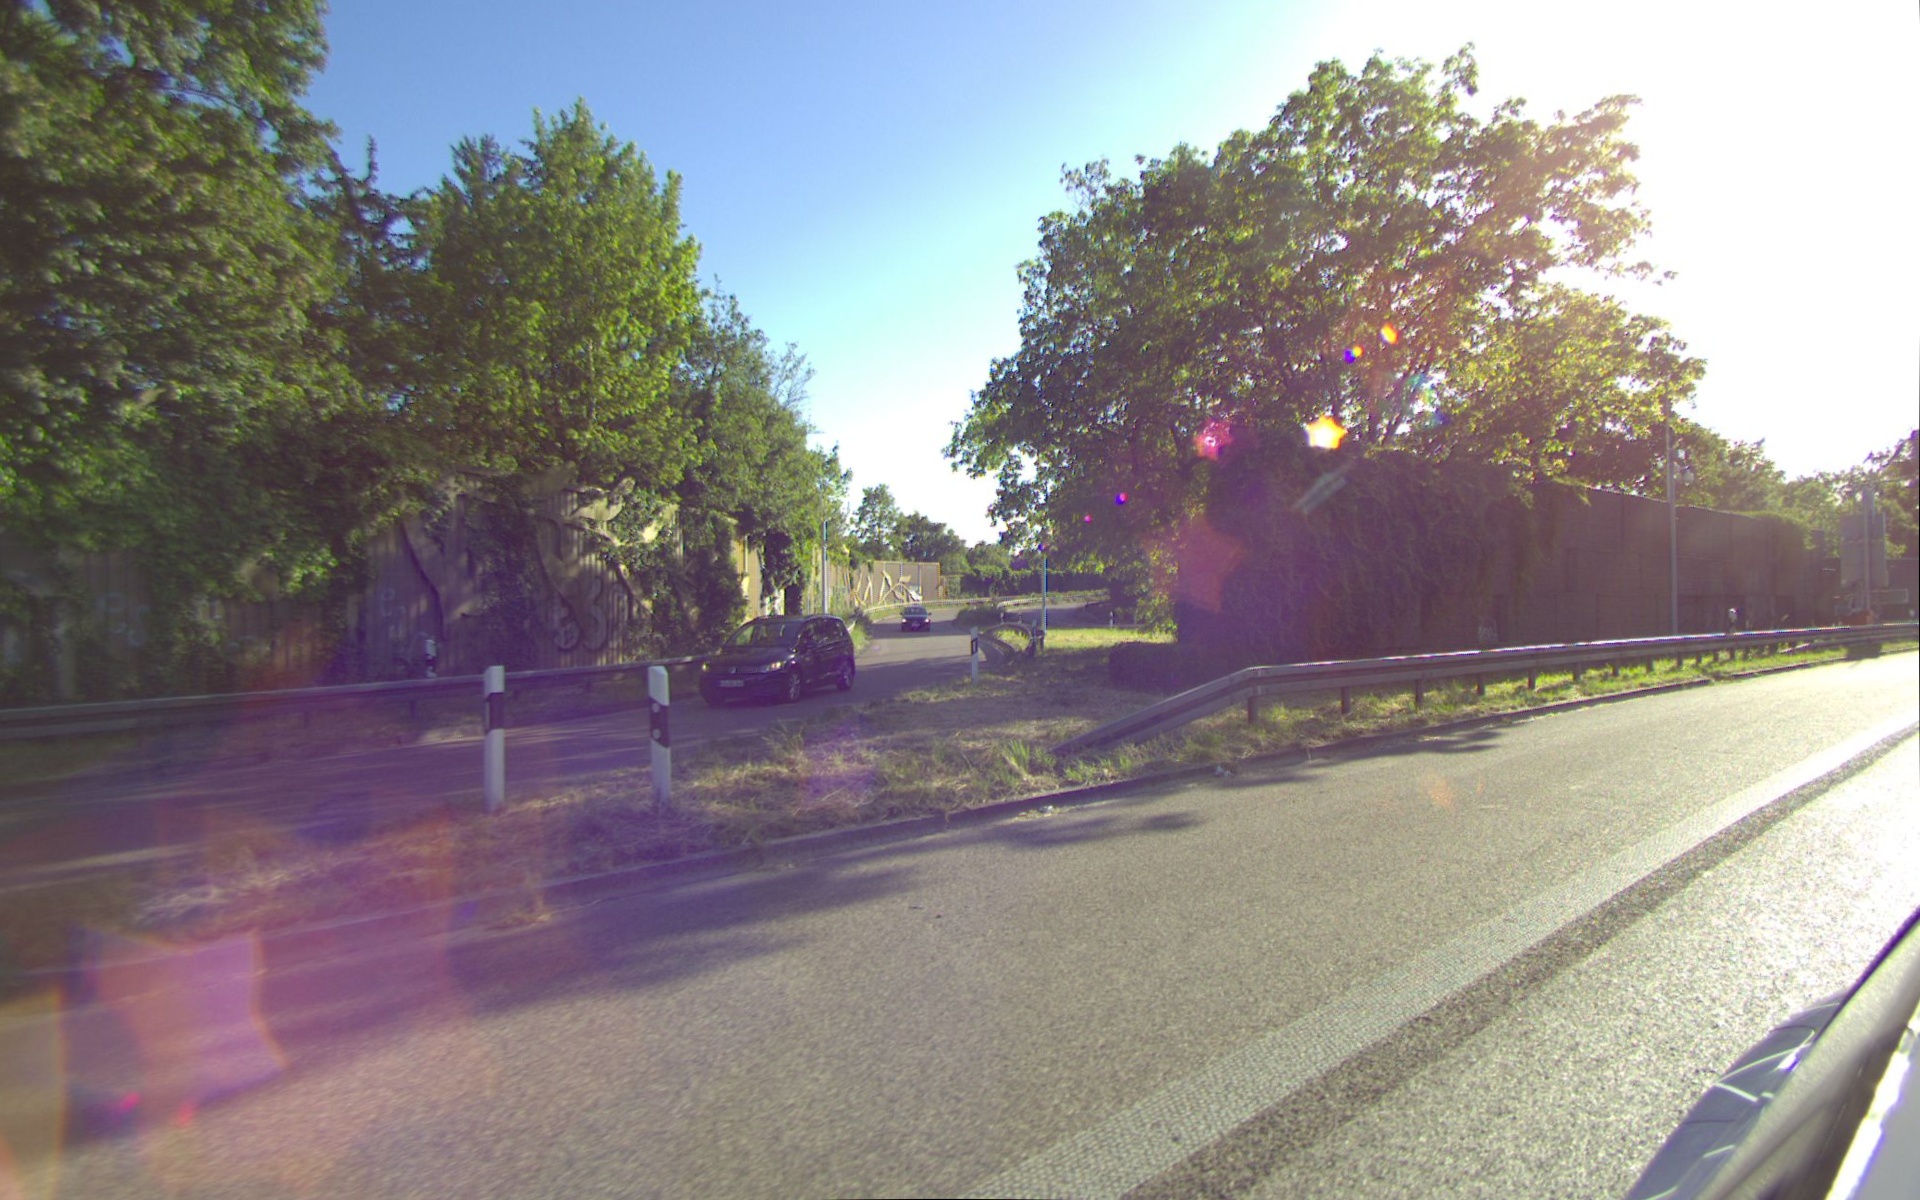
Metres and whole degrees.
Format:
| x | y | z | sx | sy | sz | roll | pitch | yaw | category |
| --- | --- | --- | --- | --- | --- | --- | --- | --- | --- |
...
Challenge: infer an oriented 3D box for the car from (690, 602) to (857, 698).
| x | y | z | sx | sy | sz | roll | pitch | yaw | category |
| --- | --- | --- | --- | --- | --- | --- | --- | --- | --- |
| -3.519 | 0.950 | 19.840 | 1.722 | 1.684 | 3.980 | -1 | -2 | 15 | car |

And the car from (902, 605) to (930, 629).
| x | y | z | sx | sy | sz | roll | pitch | yaw | category |
| --- | --- | --- | --- | --- | --- | --- | --- | --- | --- |
| -2.586 | 1.034 | 59.750 | 1.611 | 1.301 | 4.000 | -1 | -2 | -2 | car |
